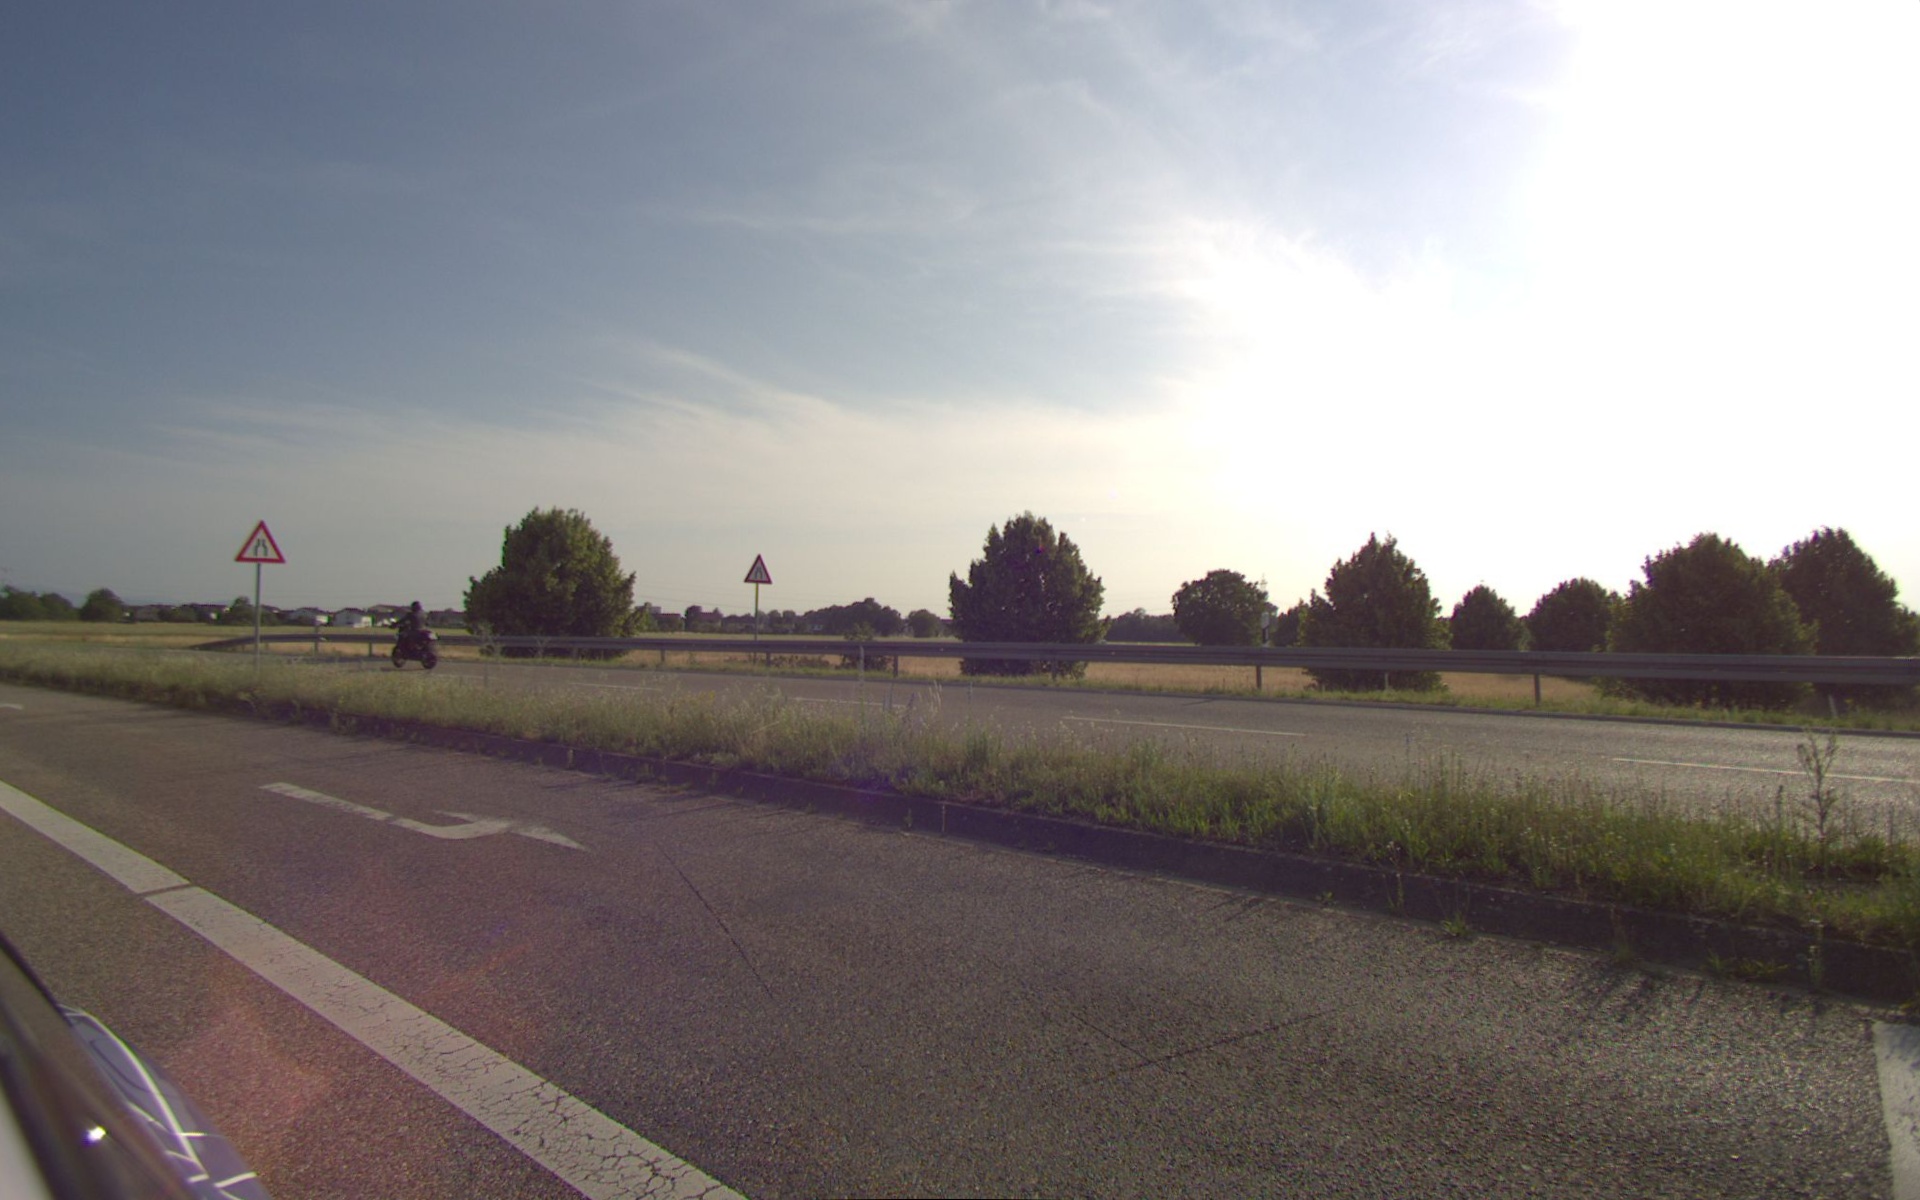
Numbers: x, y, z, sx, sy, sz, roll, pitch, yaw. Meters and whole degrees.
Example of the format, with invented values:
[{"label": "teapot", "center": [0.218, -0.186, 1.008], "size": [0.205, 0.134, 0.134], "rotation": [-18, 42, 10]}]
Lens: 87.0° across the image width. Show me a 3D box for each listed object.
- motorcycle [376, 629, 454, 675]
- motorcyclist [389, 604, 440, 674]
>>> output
[{"label": "motorcycle", "center": [-14.237, 1.327, 26.406], "size": [2.166, 1.133, 0.929], "rotation": [-1, -1, 35]}, {"label": "motorcyclist", "center": [-14.226, 0.995, 26.390], "size": [0.830, 1.771, 0.896], "rotation": [-1, -1, 35]}]
